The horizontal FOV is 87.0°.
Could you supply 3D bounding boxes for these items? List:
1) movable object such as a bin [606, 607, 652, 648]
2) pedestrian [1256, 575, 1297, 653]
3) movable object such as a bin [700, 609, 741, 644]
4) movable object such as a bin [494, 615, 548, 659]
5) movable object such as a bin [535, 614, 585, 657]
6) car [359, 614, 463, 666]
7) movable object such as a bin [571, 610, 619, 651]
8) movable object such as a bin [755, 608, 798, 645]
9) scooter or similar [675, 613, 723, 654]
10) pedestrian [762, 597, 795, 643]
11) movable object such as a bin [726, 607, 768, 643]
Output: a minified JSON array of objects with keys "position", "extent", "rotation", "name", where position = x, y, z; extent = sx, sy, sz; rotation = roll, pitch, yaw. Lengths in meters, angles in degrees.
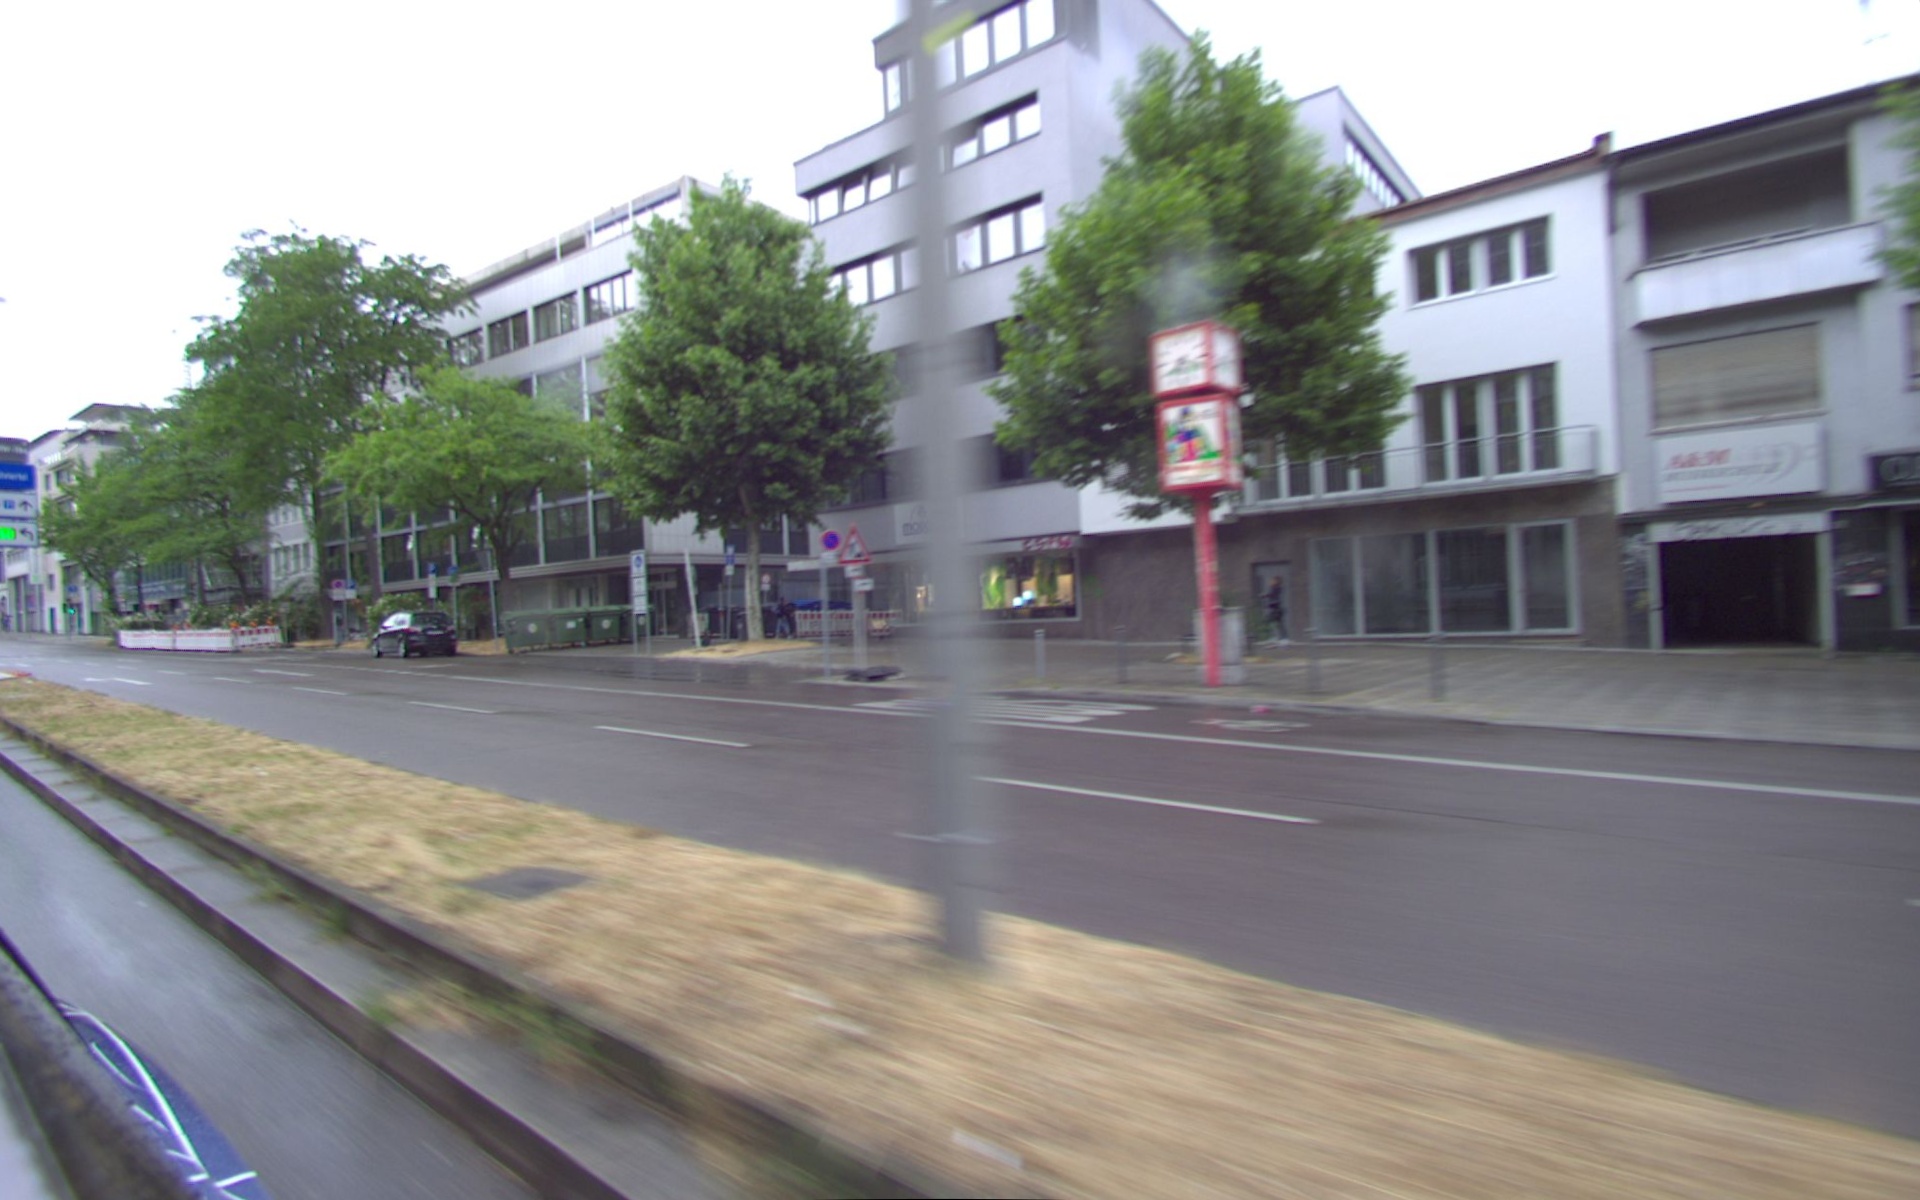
[{"position":[-12.347,1.023,37.754],"extent":[1.088,1.499,1.265],"rotation":[-2,-1,41],"name":"movable object such as a bin"},{"position":[7.322,0.330,23.423],"extent":[0.653,1.776,0.688],"rotation":[-2,-1,43],"name":"pedestrian"},{"position":[-9.968,1.102,42.149],"extent":[1.278,1.446,1.077],"rotation":[-2,-1,32],"name":"movable object such as a bin"},{"position":[-14.995,1.241,34.573],"extent":[1.088,1.437,1.345],"rotation":[-2,-1,41],"name":"movable object such as a bin"},{"position":[-14.079,1.241,35.662],"extent":[1.088,1.437,1.265],"rotation":[-2,-1,41],"name":"movable object such as a bin"},{"position":[-19.098,1.327,35.132],"extent":[4.019,1.648,1.761],"rotation":[0,0,39],"name":"car"},{"position":[-13.240,1.103,36.703],"extent":[1.088,1.437,1.265],"rotation":[-2,-1,41],"name":"movable object such as a bin"},{"position":[-7.383,1.068,40.692],"extent":[1.278,1.446,1.077],"rotation":[-2,-1,32],"name":"movable object such as a bin"},{"position":[-8.109,1.044,31.388],"extent":[1.323,1.130,0.767],"rotation":[-6,-1,42],"name":"scooter or similar"},{"position":[-6.989,0.769,38.986],"extent":[0.895,1.701,0.861],"rotation":[-2,-1,37],"name":"pedestrian"},{"position":[-8.685,1.012,41.290],"extent":[1.278,1.446,1.077],"rotation":[-2,-1,32],"name":"movable object such as a bin"}]
